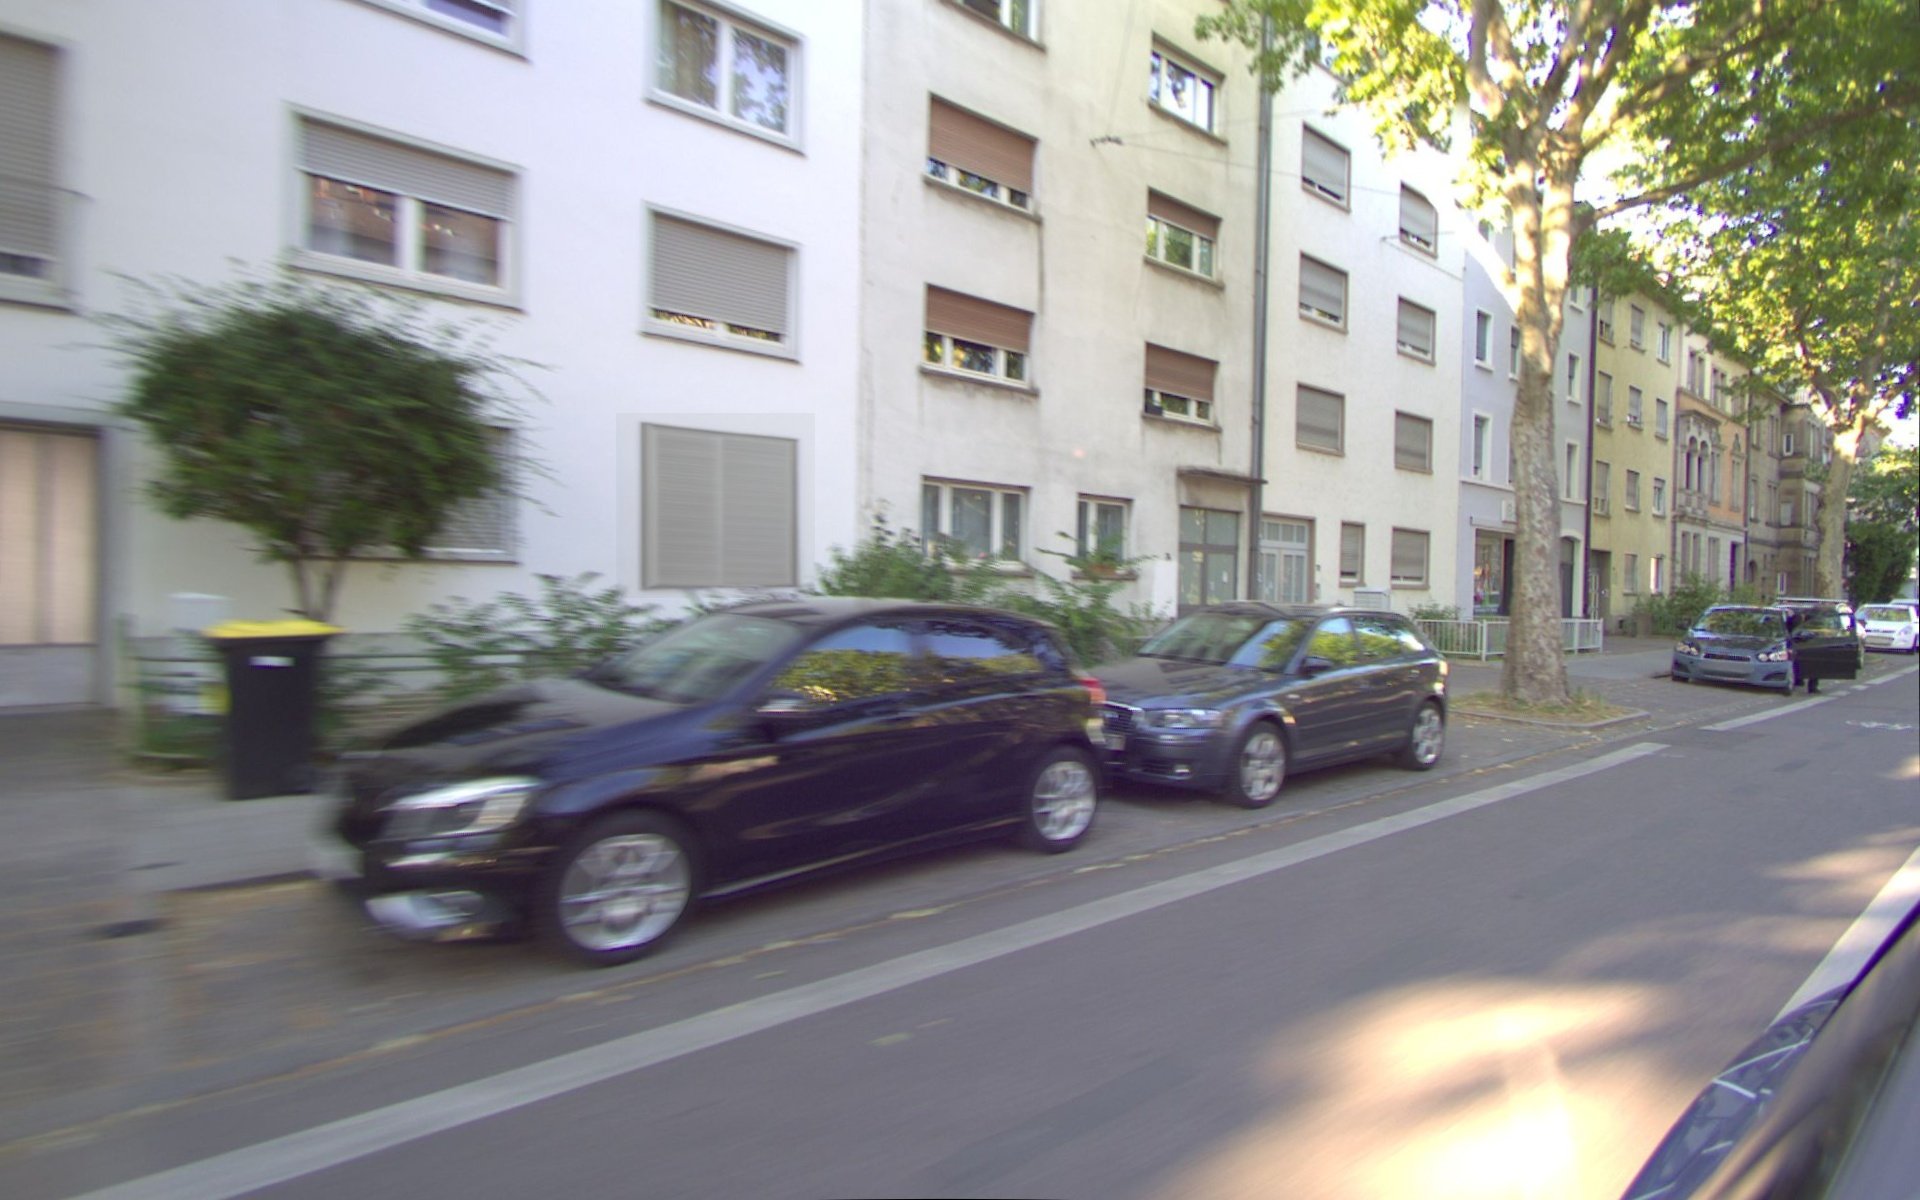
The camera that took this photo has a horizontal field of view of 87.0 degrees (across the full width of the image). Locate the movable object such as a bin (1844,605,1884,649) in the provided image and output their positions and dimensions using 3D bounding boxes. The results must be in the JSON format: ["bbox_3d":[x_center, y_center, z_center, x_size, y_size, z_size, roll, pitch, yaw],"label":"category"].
[{"bbox_3d":[24.274,0.722,27.171,0.658,1.130,0.682,0,-1,-39],"label":"movable object such as a bin"}]

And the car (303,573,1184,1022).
[{"bbox_3d":[-0.834,0.618,5.381,4.288,1.432,1.712,-1,3,-41],"label":"car"}]

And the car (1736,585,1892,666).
[{"bbox_3d":[19.617,0.494,23.175,4.583,1.585,1.998,-1,3,-41],"label":"car"}]

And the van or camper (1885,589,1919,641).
[{"bbox_3d":[34.147,0.517,35.570,4.301,1.741,1.790,0,2,-40],"label":"van or camper"}]

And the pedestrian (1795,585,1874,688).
[{"bbox_3d":[15.503,0.640,17.963,0.665,1.773,0.757,-1,-1,1],"label":"pedestrian"}]

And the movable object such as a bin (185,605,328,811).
[{"bbox_3d":[-4.388,0.627,6.310,0.655,1.173,0.616,0,1,-43],"label":"movable object such as a bin"}]

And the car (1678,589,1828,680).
[{"bbox_3d":[14.696,0.551,18.680,1.744,1.482,3.961,1,1,45],"label":"car"}]

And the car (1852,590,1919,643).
[{"bbox_3d":[29.370,0.471,31.639,4.121,1.545,1.701,0,1,-41],"label":"car"}]

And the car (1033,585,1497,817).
[{"bbox_3d":[2.755,0.623,8.579,4.288,1.432,1.712,-1,3,-41],"label":"car"}]
